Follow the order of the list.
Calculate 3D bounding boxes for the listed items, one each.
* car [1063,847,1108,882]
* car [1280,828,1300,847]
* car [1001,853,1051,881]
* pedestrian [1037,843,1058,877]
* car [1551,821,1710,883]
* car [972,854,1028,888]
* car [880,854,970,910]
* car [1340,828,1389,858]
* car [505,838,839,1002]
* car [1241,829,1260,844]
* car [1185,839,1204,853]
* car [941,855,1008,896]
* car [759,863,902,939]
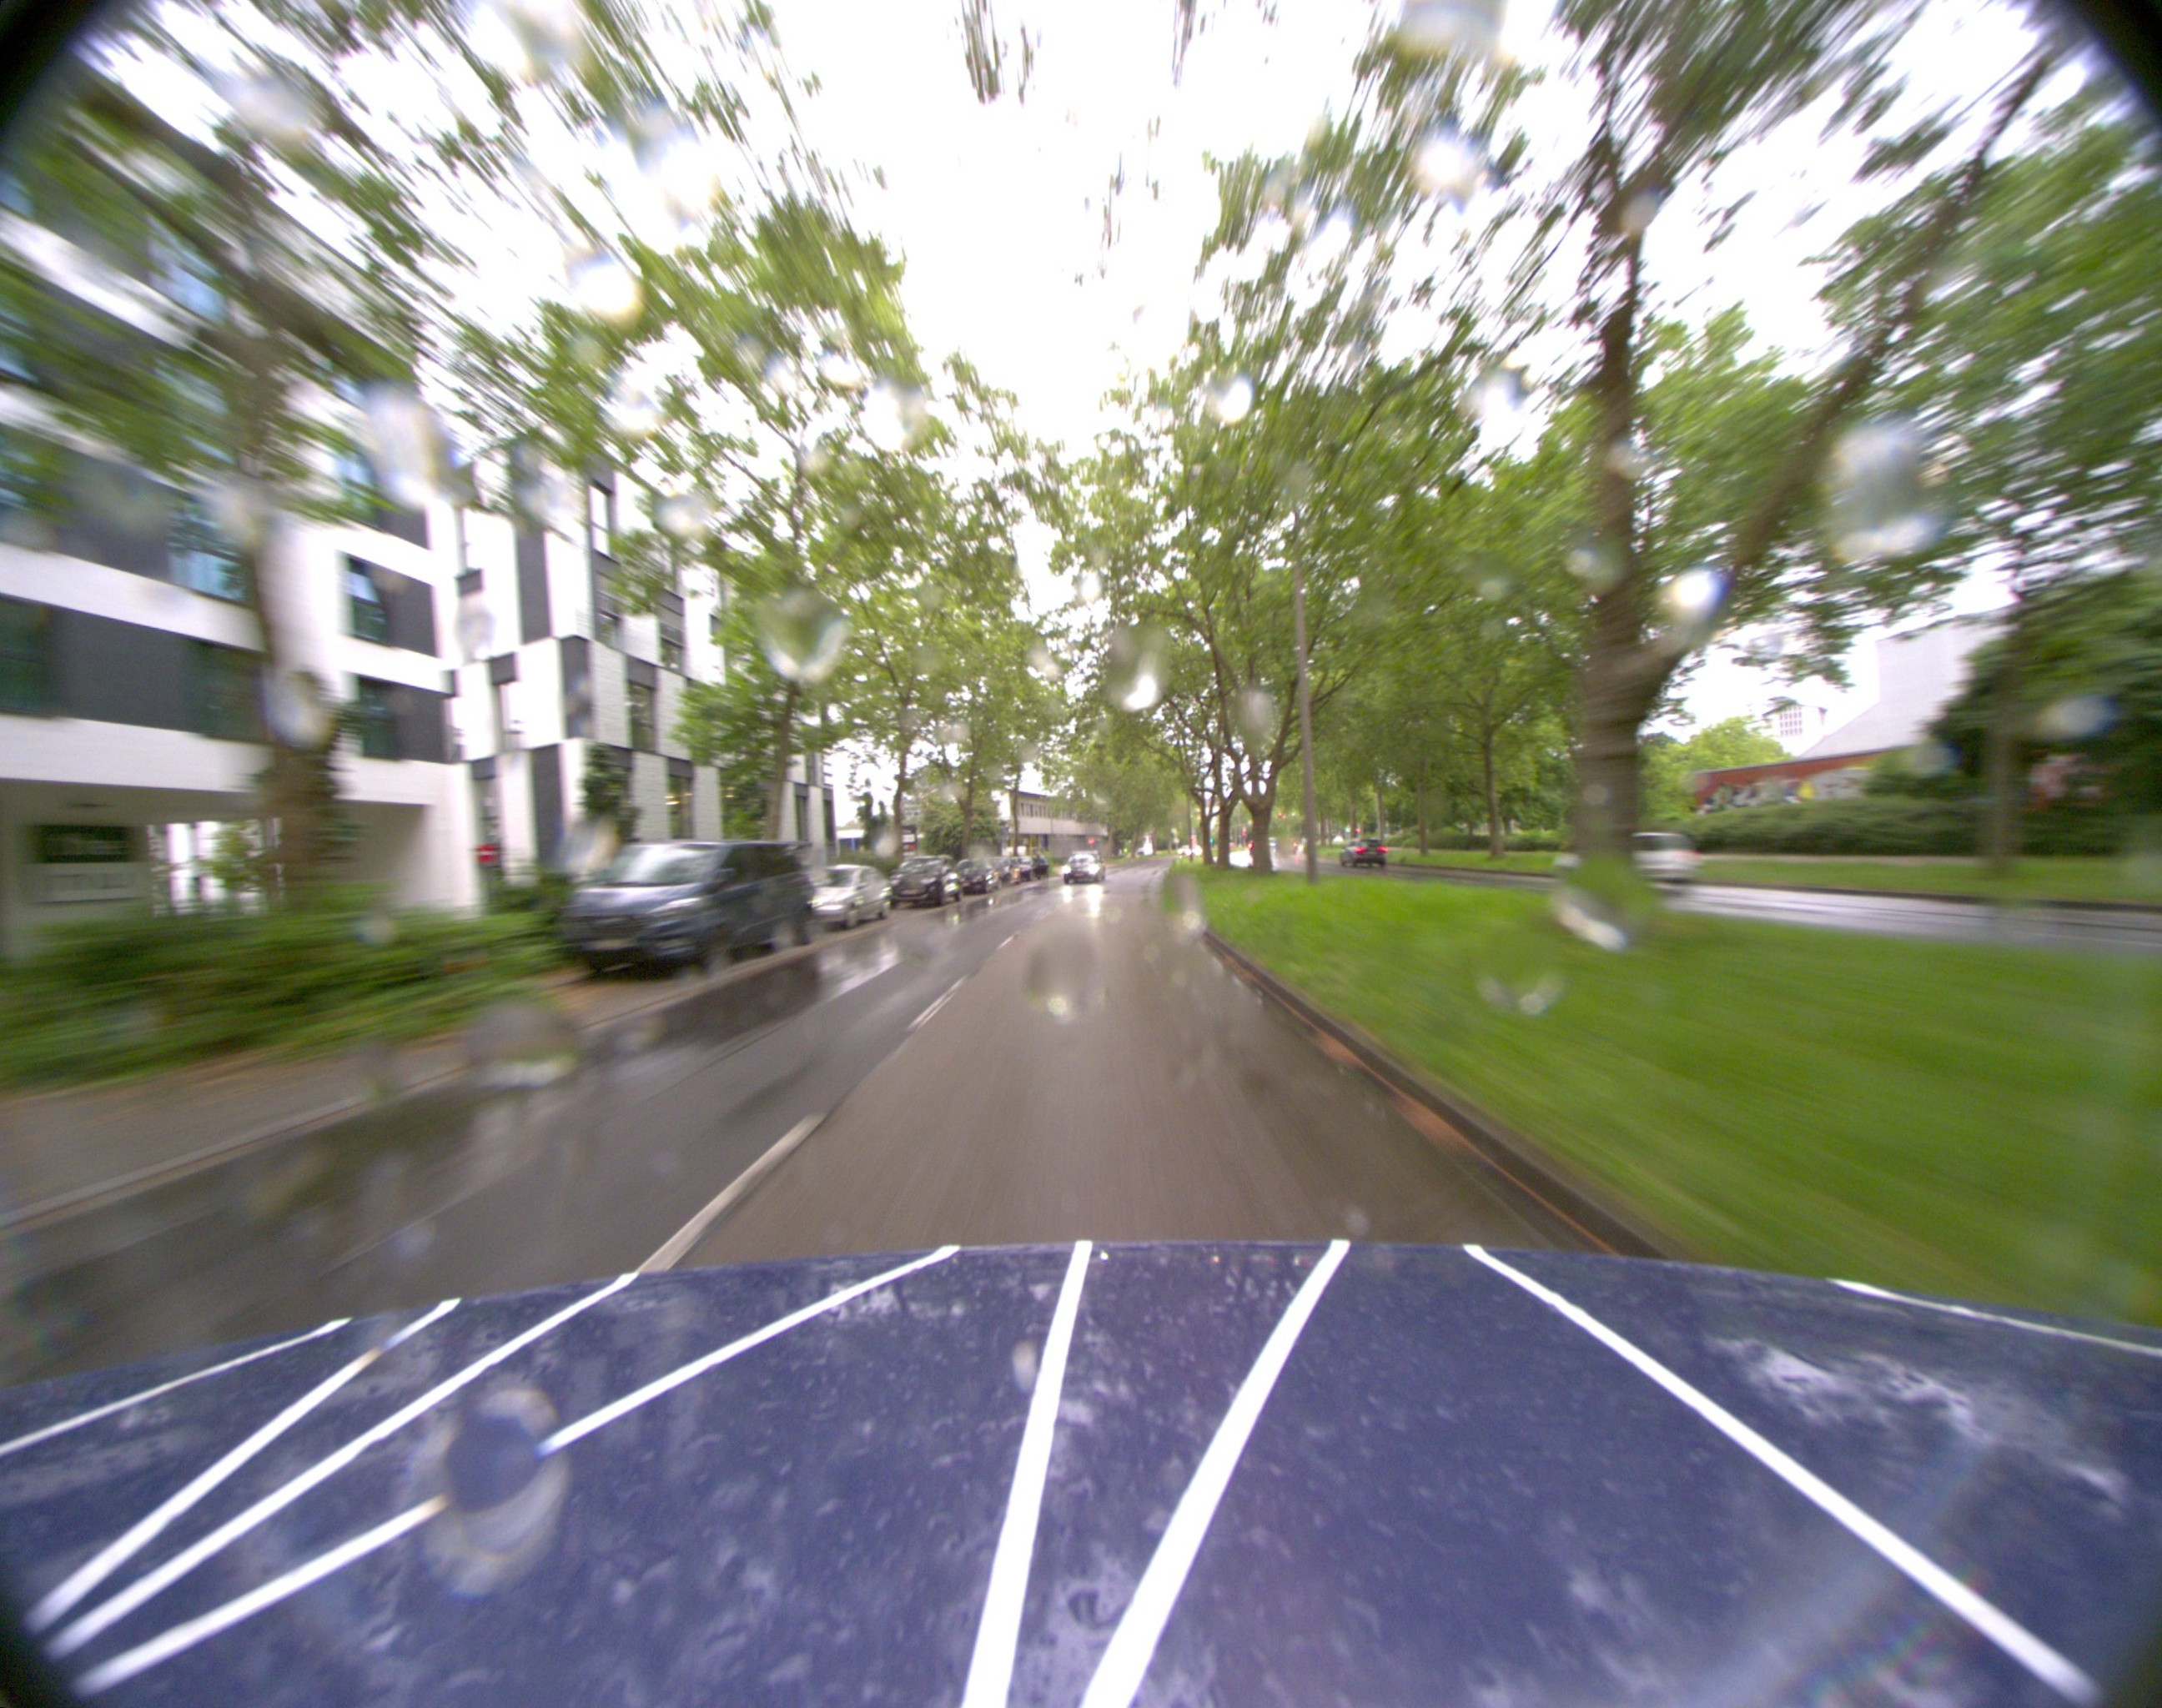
[{"bbox_3d":[0.319,0.513,41.233,1.998,1.585,5.590,-3,1,4],"label":"car"},{"bbox_3d":[26.391,-2.124,95.859,2.032,2.213,5.440,-3,1,18],"label":"car"},{"bbox_3d":[-3.209,0.717,45.071,1.746,1.420,4.870,-3,1,10],"label":"car"},{"bbox_3d":[-2.045,0.335,46.080,0.901,2.002,0.831,-3,1,-30],"label":"pedestrian"},{"bbox_3d":[14.822,-0.083,20.771,1.747,1.451,3.843,-3,1,5],"label":"car"},{"bbox_3d":[-4.021,0.815,38.409,1.747,1.420,5.105,-3,1,6],"label":"car"},{"bbox_3d":[-5.061,0.863,25.309,1.747,1.557,4.372,-3,1,4],"label":"car"},{"bbox_3d":[16.392,-0.630,44.078,1.746,1.552,4.370,-3,1,9],"label":"car"},{"bbox_3d":[-6.156,0.823,12.544,2.126,2.016,5.528,-3,1,4],"label":"car"},{"bbox_3d":[21.790,-2.253,97.436,2.033,1.726,4.959,-3,1,16],"label":"car"},{"bbox_3d":[15.431,-1.099,102.980,1.997,1.620,4.525,-3,1,13],"label":"car"},{"bbox_3d":[-4.421,0.857,32.235,1.747,1.468,4.084,-3,1,7],"label":"car"},{"bbox_3d":[-5.904,1.047,18.515,1.747,1.460,4.306,-3,1,4],"label":"car"}]
